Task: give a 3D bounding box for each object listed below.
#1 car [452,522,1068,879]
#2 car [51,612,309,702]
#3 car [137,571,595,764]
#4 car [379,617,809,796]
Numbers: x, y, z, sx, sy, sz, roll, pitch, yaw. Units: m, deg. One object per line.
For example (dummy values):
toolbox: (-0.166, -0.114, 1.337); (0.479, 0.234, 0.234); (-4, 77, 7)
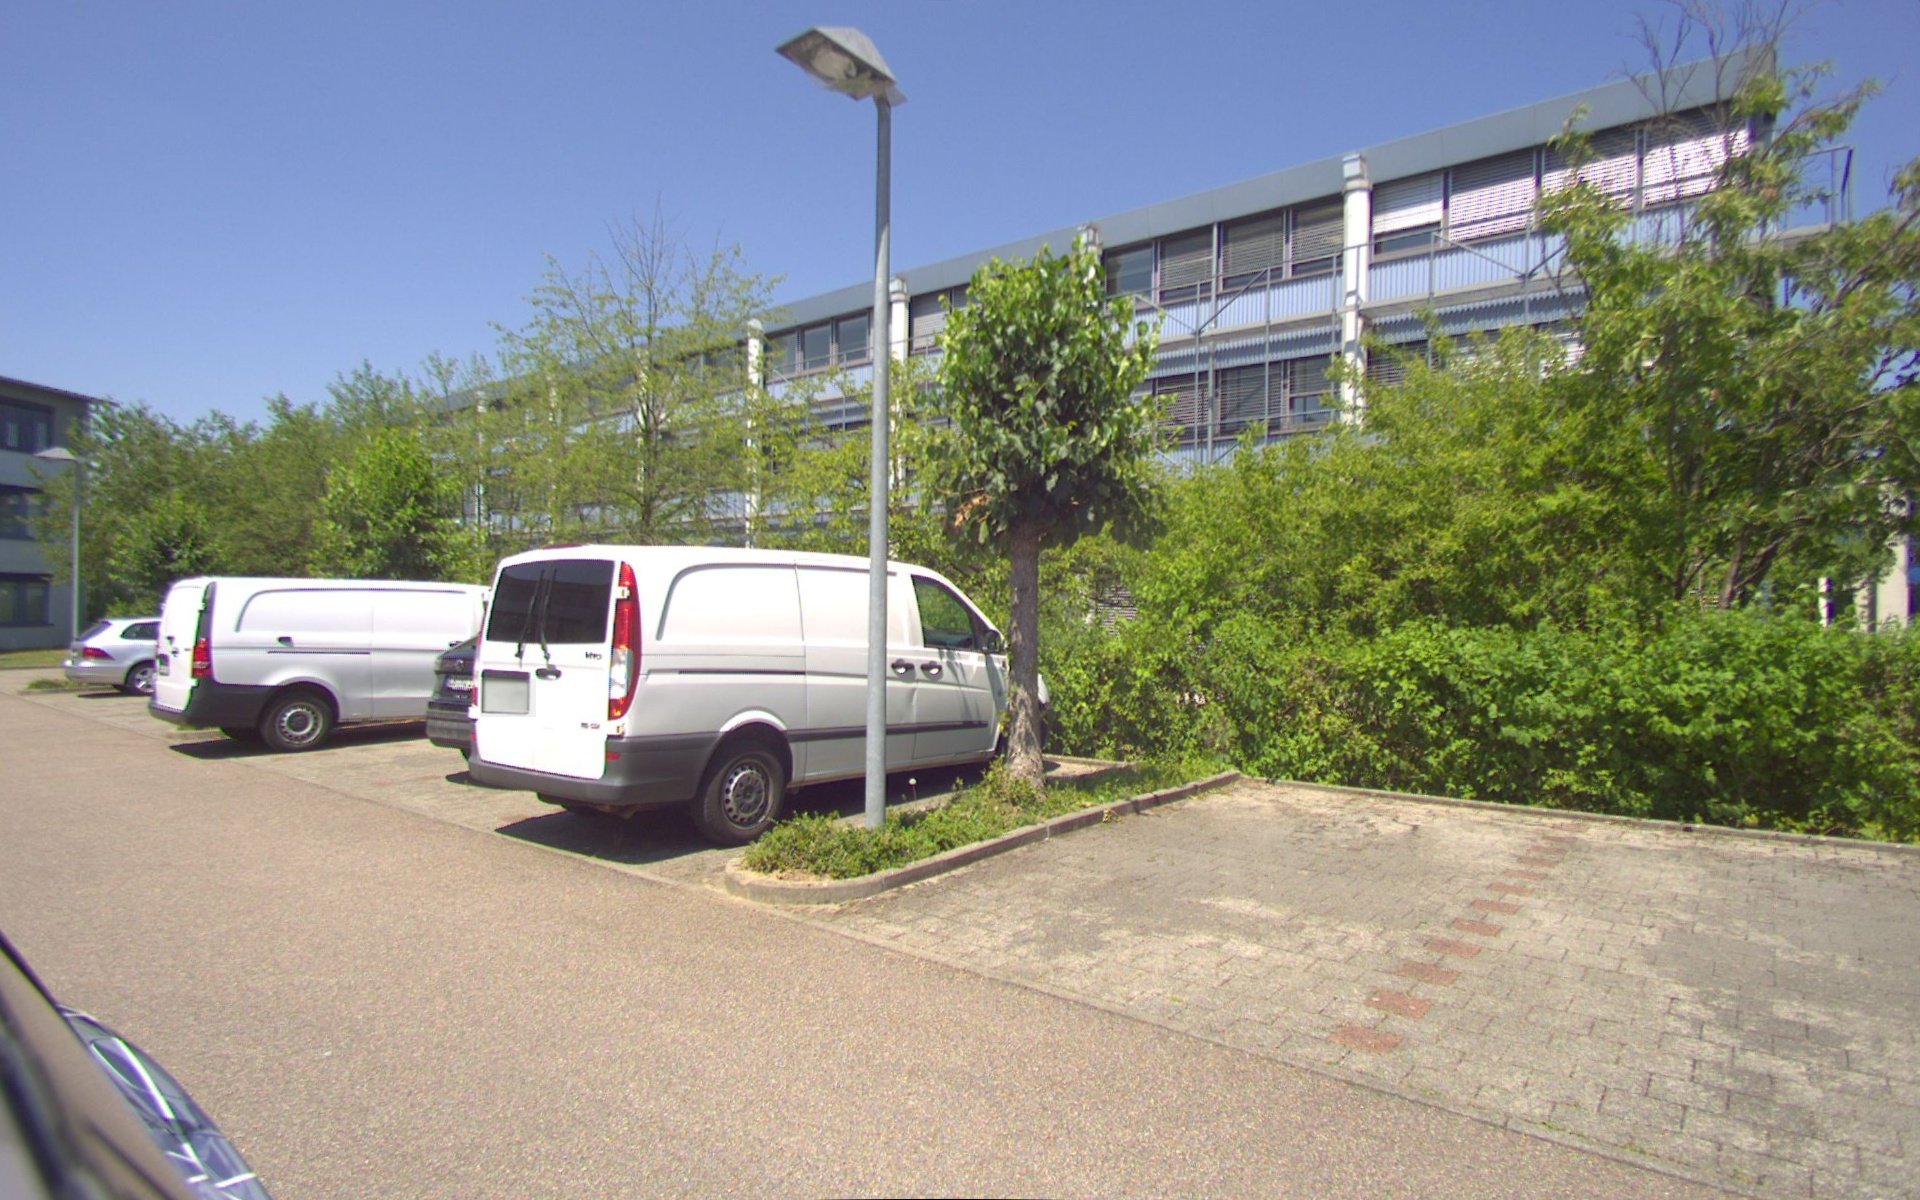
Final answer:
car: (-1.167, 0.565, 7.875); (1.827, 1.920, 4.675); (-1, -1, 37)
car: (-15.118, 1.035, 19.780); (1.658, 1.569, 3.718); (-1, -1, 38)
car: (-6.941, 0.695, 12.300); (1.826, 1.896, 4.463); (-1, -1, 38)
car: (-3.423, 0.886, 10.067); (1.574, 1.404, 3.803); (-1, -1, 37)
